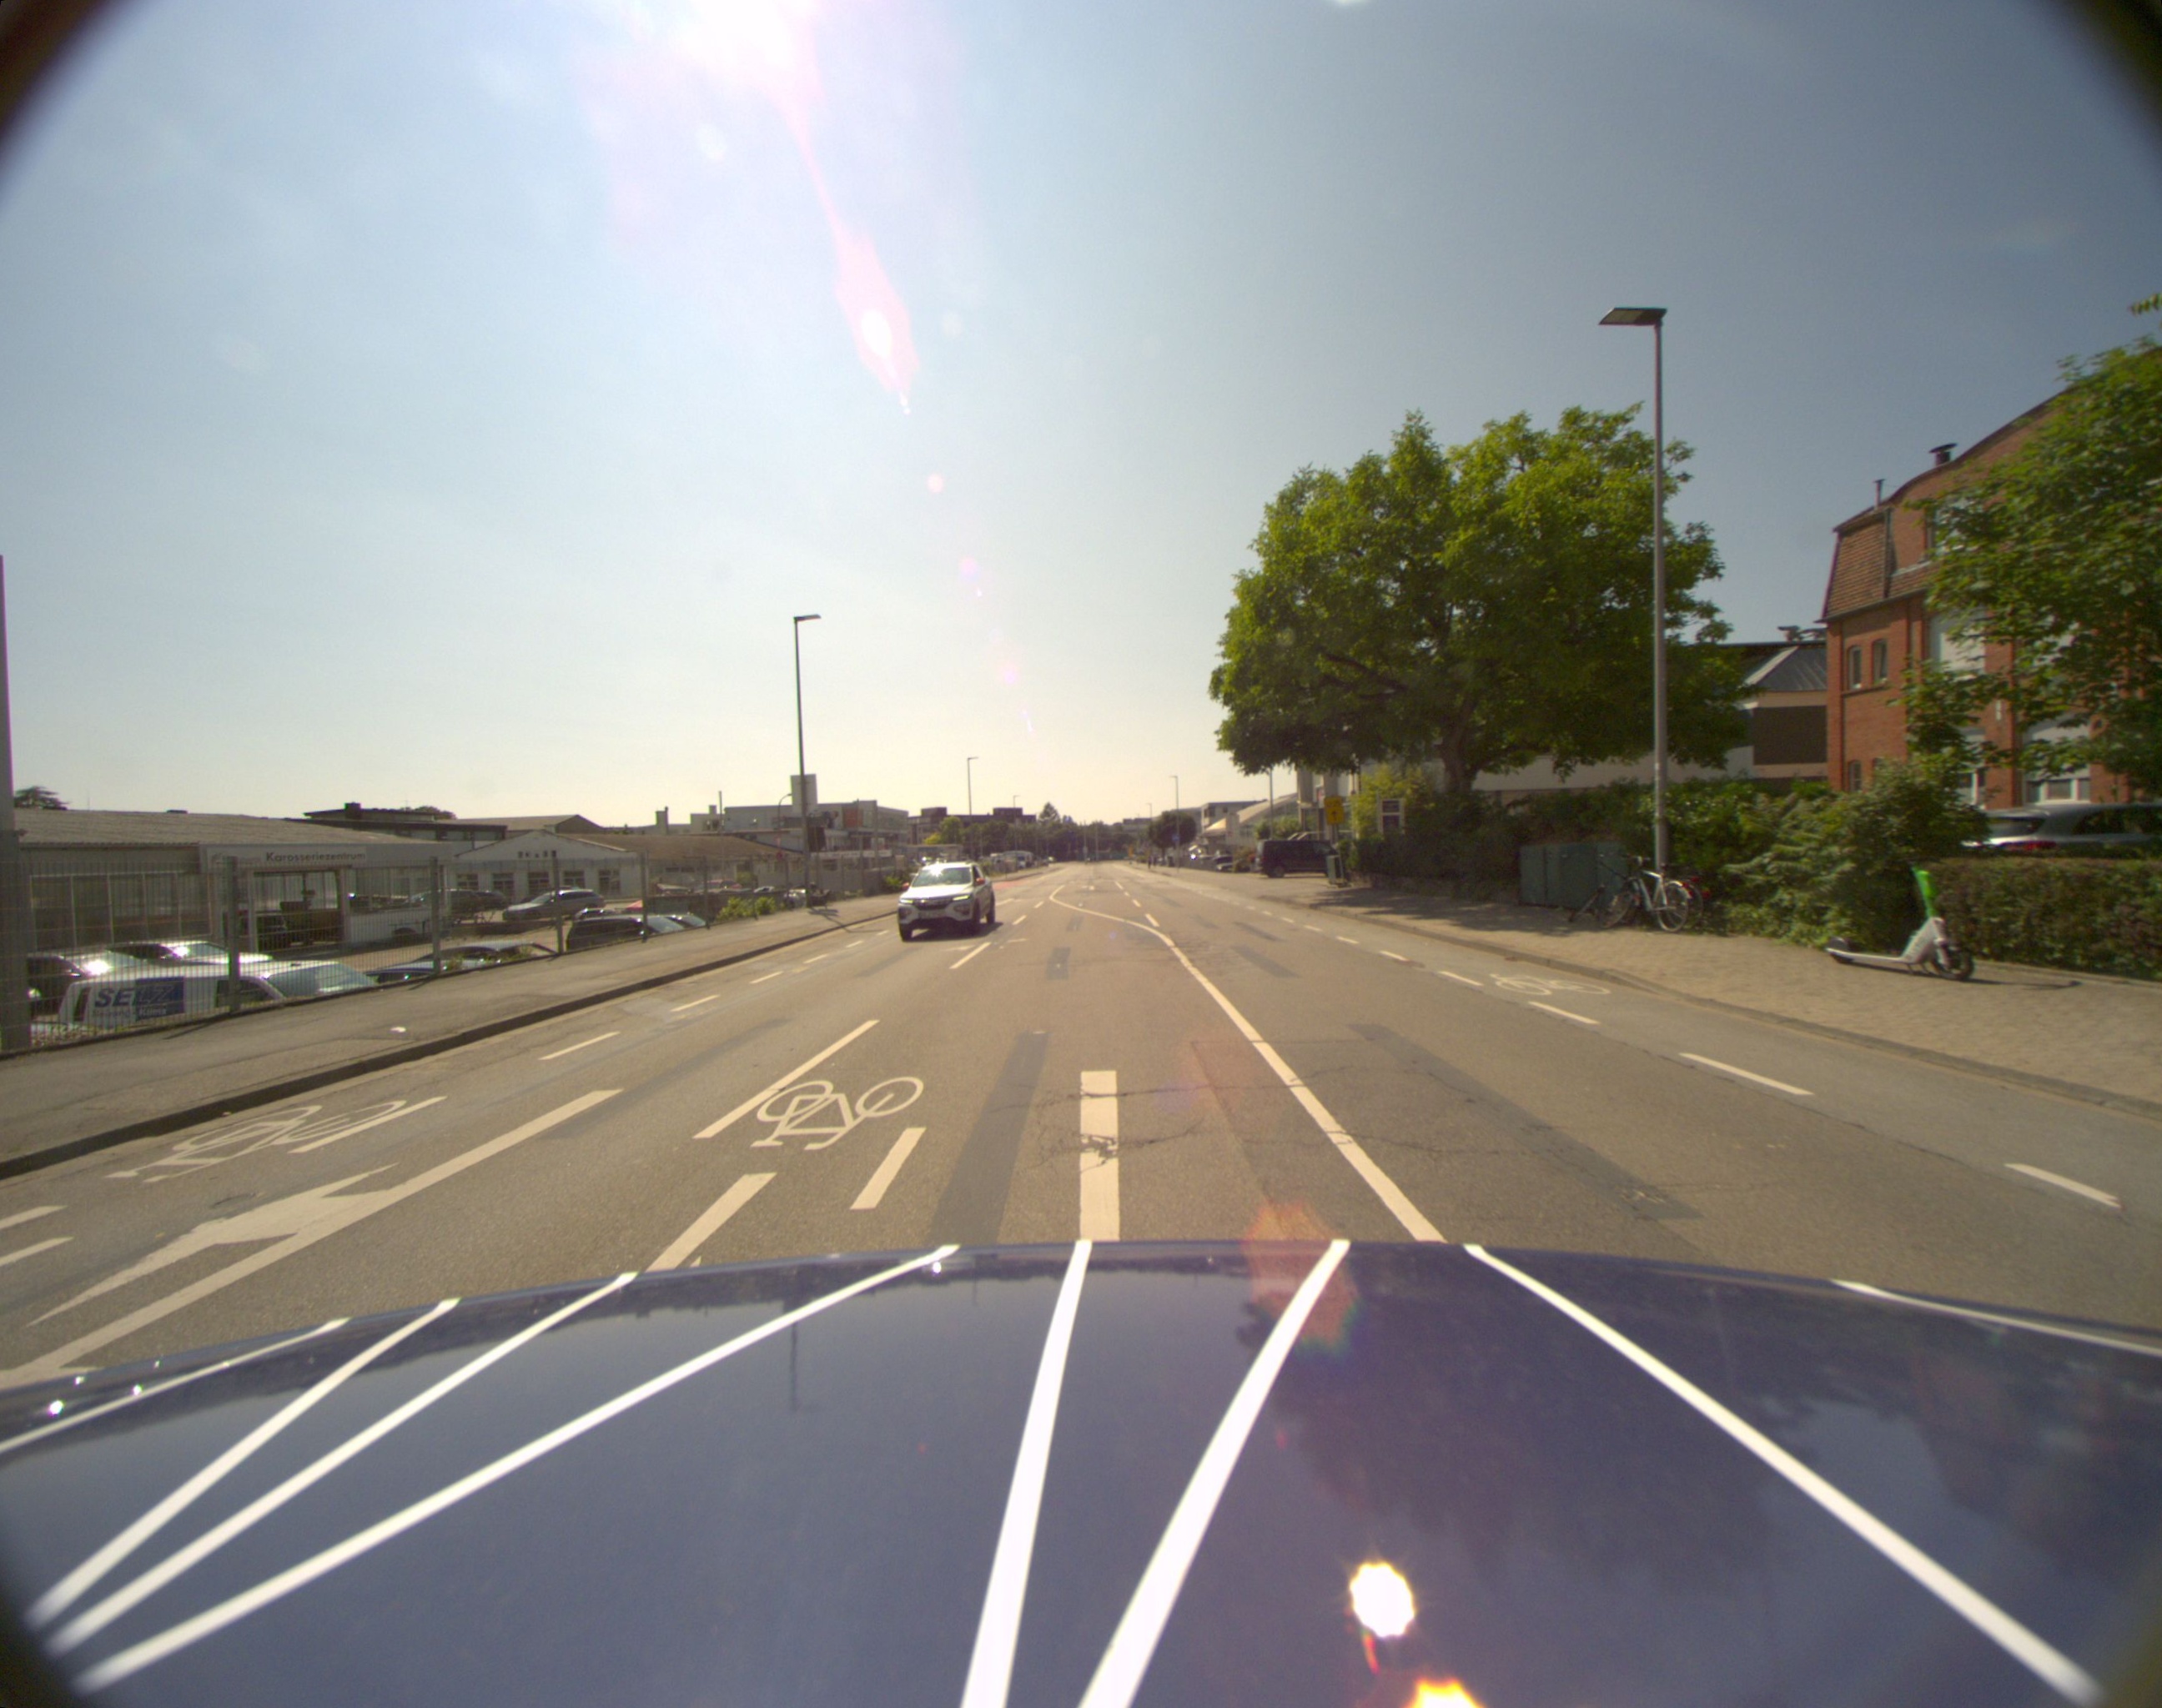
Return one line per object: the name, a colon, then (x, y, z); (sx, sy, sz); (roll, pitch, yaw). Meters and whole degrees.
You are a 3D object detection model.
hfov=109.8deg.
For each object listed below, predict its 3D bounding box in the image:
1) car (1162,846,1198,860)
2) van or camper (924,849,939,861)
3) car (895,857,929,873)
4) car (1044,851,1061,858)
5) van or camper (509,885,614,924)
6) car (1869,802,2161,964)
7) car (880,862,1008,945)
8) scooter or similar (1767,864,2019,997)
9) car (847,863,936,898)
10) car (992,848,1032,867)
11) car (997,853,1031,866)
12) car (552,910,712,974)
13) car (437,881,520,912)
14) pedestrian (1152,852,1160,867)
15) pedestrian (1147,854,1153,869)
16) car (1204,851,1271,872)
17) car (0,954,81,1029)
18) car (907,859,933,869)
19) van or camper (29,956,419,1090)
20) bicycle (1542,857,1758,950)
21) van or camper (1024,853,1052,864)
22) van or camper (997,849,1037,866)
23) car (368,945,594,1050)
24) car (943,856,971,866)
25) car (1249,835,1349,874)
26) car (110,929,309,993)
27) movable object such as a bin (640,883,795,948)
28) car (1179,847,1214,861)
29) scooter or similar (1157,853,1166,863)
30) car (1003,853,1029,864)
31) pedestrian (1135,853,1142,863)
car: (13.148, -0.109, 101.166); (4.587, 1.687, 1.855); (-3, 0, -34)
van or camper: (-27.802, 0.215, 141.287); (2.123, 2.002, 5.113); (-2, 0, -4)
car: (-28.924, 1.884, 129.946); (5.312, 2.405, 2.325); (-2, 0, -4)
car: (-7.682, 0.206, 204.379); (3.991, 1.696, 2.003); (-3, 1, 22)
van or camper: (-28.113, 2.688, 41.251); (1.994, 1.535, 4.235); (3, 4, 28)
car: (12.938, 0.357, 9.633); (3.773, 1.830, 1.787); (2, 1, 5)
car: (-2.819, 0.972, 16.447); (1.726, 1.475, 3.678); (-4, -1, 5)
scooter or similar: (8.020, 0.696, 7.625); (0.648, 1.121, 1.622); (-5, 1, -5)
car: (-10.204, 1.410, 41.226); (1.954, 1.351, 4.503); (-6, 1, 31)
car: (-11.330, 0.555, 124.924); (6.243, 2.853, 2.320); (-2, 0, 2)
car: (-10.799, 0.849, 122.287); (5.247, 1.940, 2.000); (-1, 0, 1)
car: (-14.647, 2.857, 24.977); (3.997, 1.641, 2.000); (-3, 1, 0)
car: (-41.690, 2.929, 52.651); (3.998, 1.783, 2.000); (-4, 0, -3)
pedestrian: (9.552, 0.697, 96.852); (0.725, 1.838, 0.911); (-2, 1, -4)
pedestrian: (8.301, 0.894, 91.435); (0.734, 1.857, 1.047); (-2, 1, 6)
car: (12.156, 0.555, 59.198); (4.751, 1.472, 2.048); (-2, 0, 0)
car: (-29.360, 3.636, 19.701); (3.998, 1.653, 1.999); (-2, 3, -2)
car: (-28.742, 1.788, 135.592); (4.116, 1.723, 1.999); (-2, 0, -3)
van or camper: (-14.808, 2.879, 13.386); (4.325, 1.641, 2.020); (-3, 1, -3)
bicycle: (8.370, 0.663, 11.429); (1.029, 1.111, 2.765); (-5, 0, -2)
van or camper: (-8.557, 0.868, 151.898); (5.144, 1.950, 1.982); (-1, 1, -29)
van or camper: (-10.758, 0.559, 127.992); (6.365, 2.684, 2.712); (-2, 0, 1)
car: (-15.171, 3.598, 19.407); (3.997, 2.002, 2.000); (-5, 1, 0)
car: (-22.177, 1.243, 135.902); (4.550, 1.668, 1.999); (-2, 0, -3)
car: (11.120, 0.016, 39.052); (4.577, 1.854, 2.093); (-1, 0, 2)
car: (-28.464, 3.475, 24.942); (3.998, 1.653, 1.999); (-2, 3, -2)
movable object such as a bin: (-14.573, 2.451, 30.696); (5.128, 2.002, 2.000); (-5, 1, 1)
car: (14.425, -0.032, 94.642); (4.005, 1.541, 1.855); (-3, 0, -30)
scooter or similar: (10.452, 0.559, 98.929); (0.746, 1.240, 1.490); (-3, 0, -7)
car: (-10.238, 0.696, 119.419); (3.931, 1.584, 1.798); (-2, 0, 1)
pedestrian: (10.040, 0.729, 132.507); (0.996, 1.676, 0.800); (-2, 1, 12)
